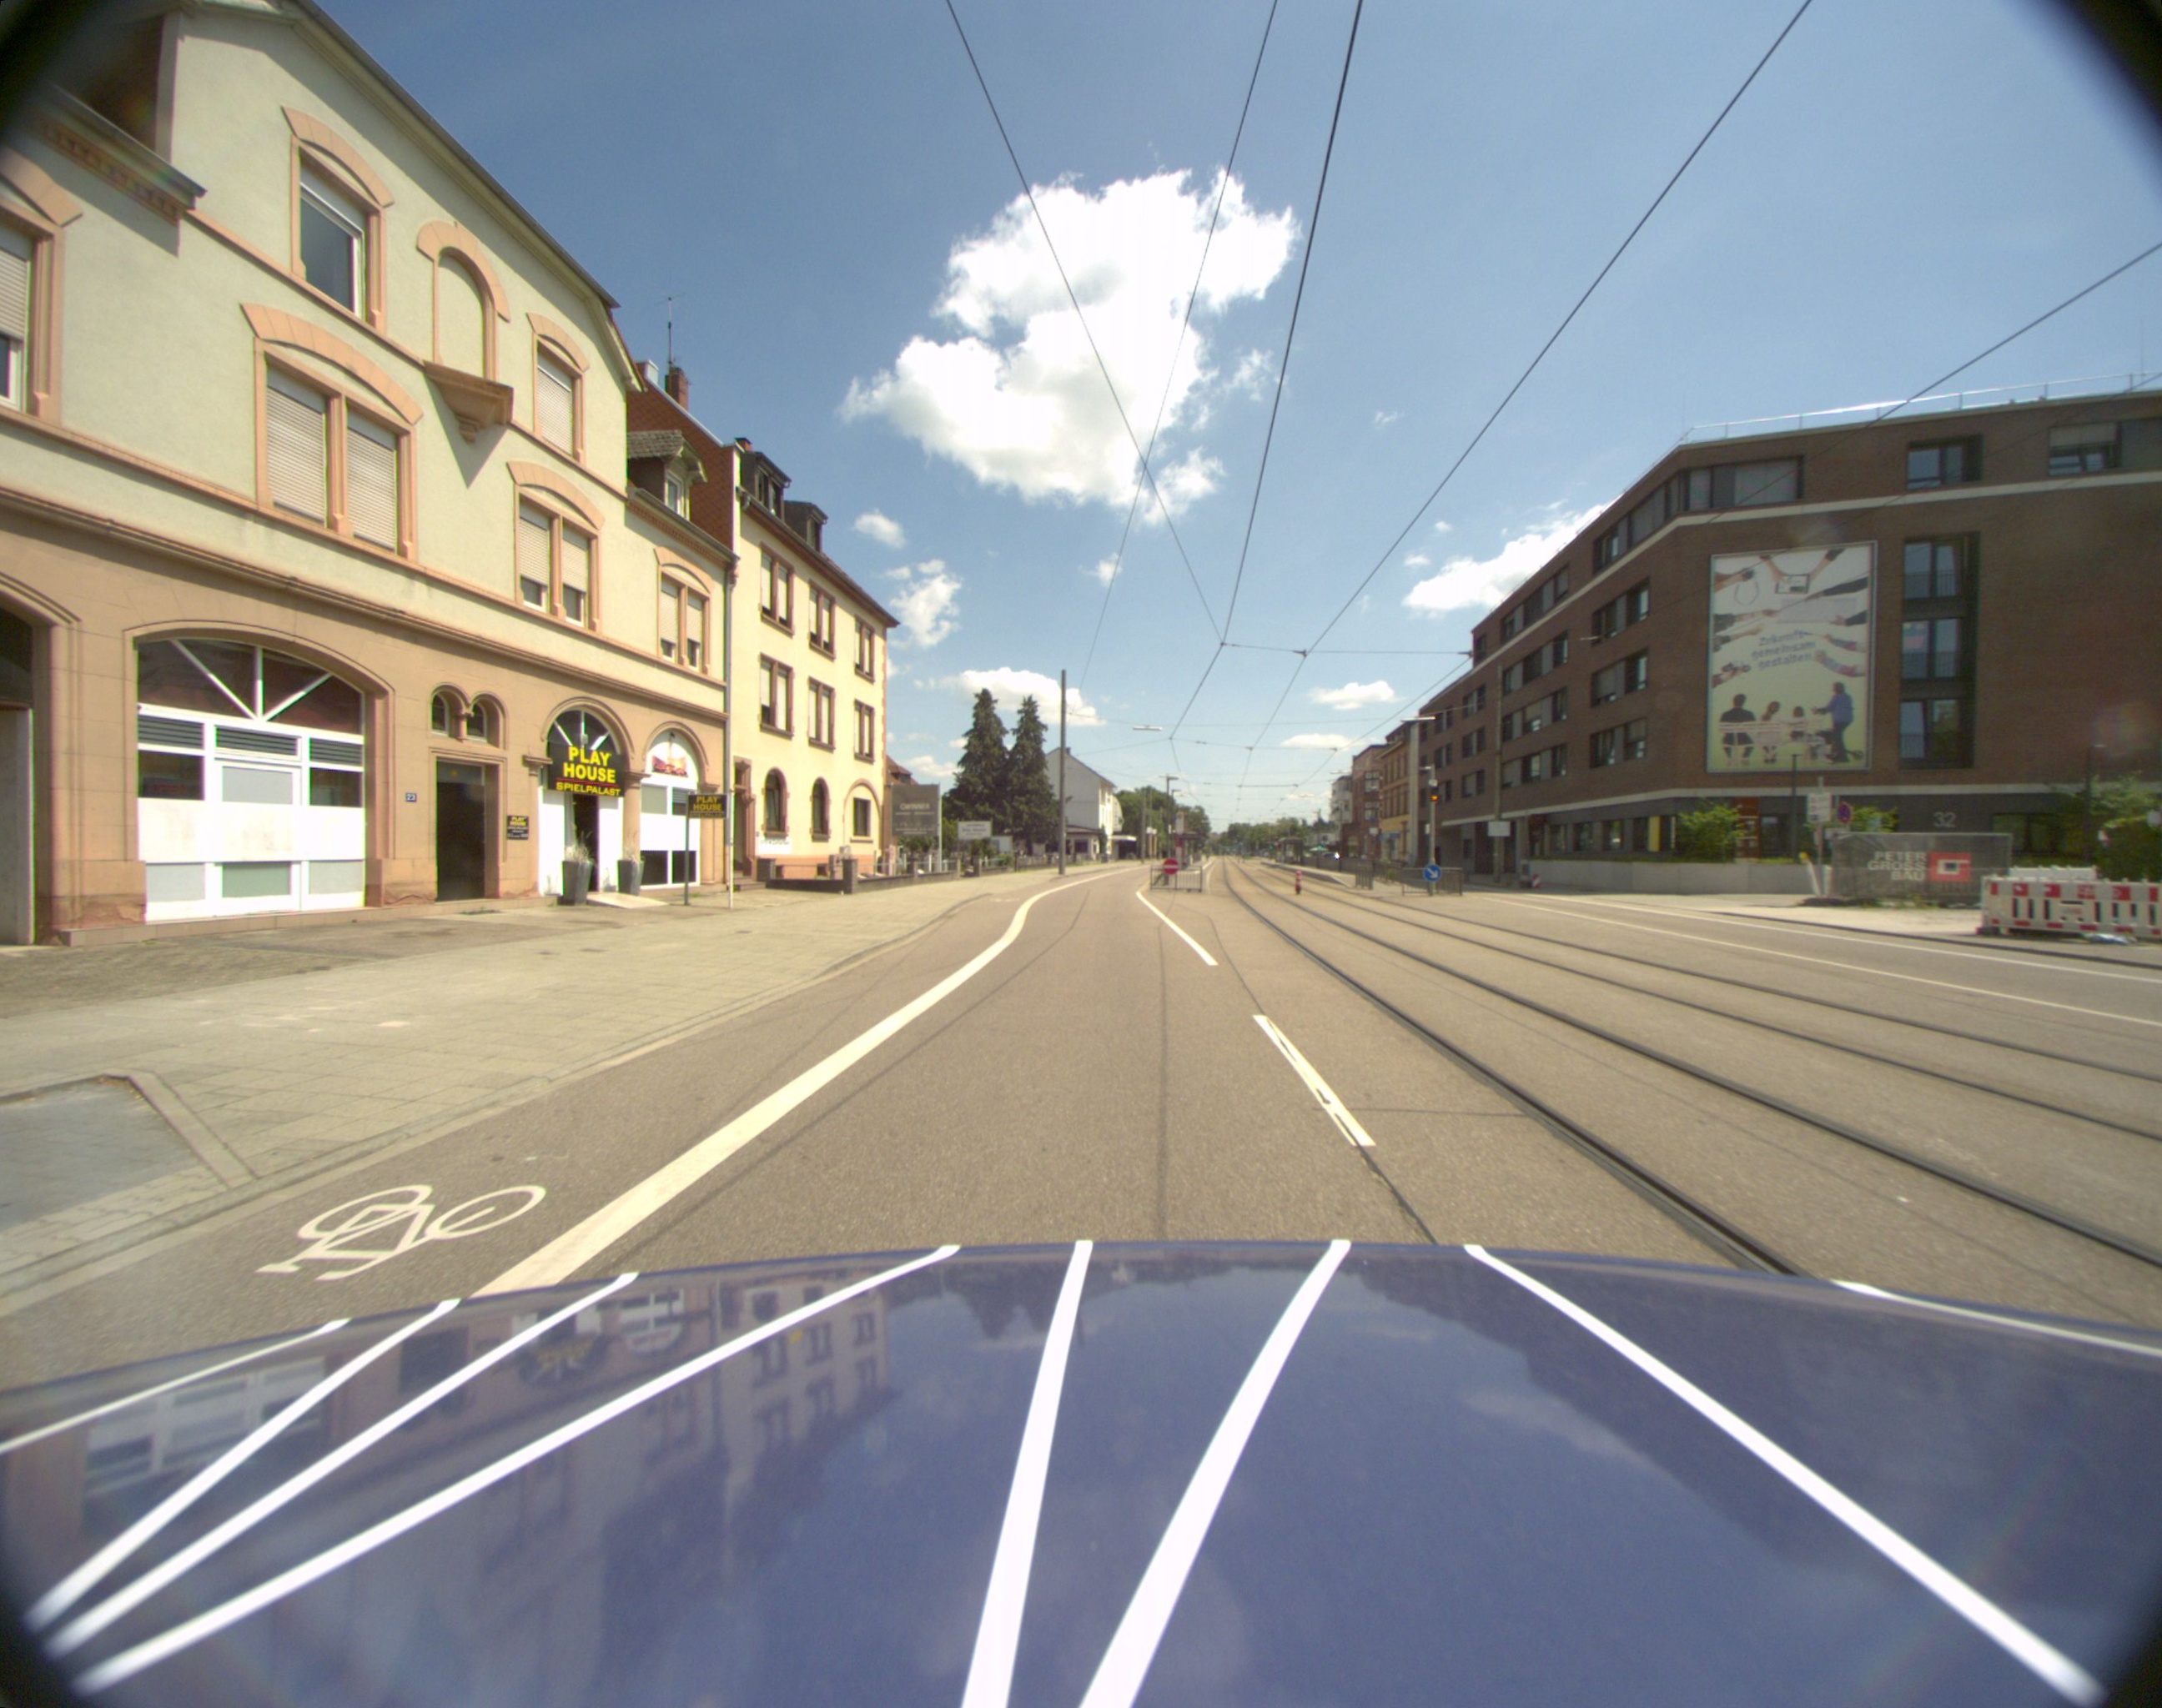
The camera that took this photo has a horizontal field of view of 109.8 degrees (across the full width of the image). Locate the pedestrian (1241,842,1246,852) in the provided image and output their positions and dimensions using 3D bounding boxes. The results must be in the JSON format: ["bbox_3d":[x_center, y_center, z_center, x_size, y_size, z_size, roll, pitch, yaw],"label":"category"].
[{"bbox_3d":[25.241,-1.121,117.860,0.578,1.547,0.786,3,3,14],"label":"pedestrian"}]

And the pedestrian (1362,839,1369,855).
[{"bbox_3d":[25.709,-0.644,68.675,0.436,1.376,0.536,3,3,10],"label":"pedestrian"}]

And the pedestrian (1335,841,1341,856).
[{"bbox_3d":[34.295,-0.759,101.256,0.618,2.002,0.811,0,1,9],"label":"pedestrian"}]

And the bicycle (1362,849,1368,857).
[{"bbox_3d":[25.651,-0.096,68.665,0.292,0.757,1.188,3,2,11],"label":"bicycle"}]
